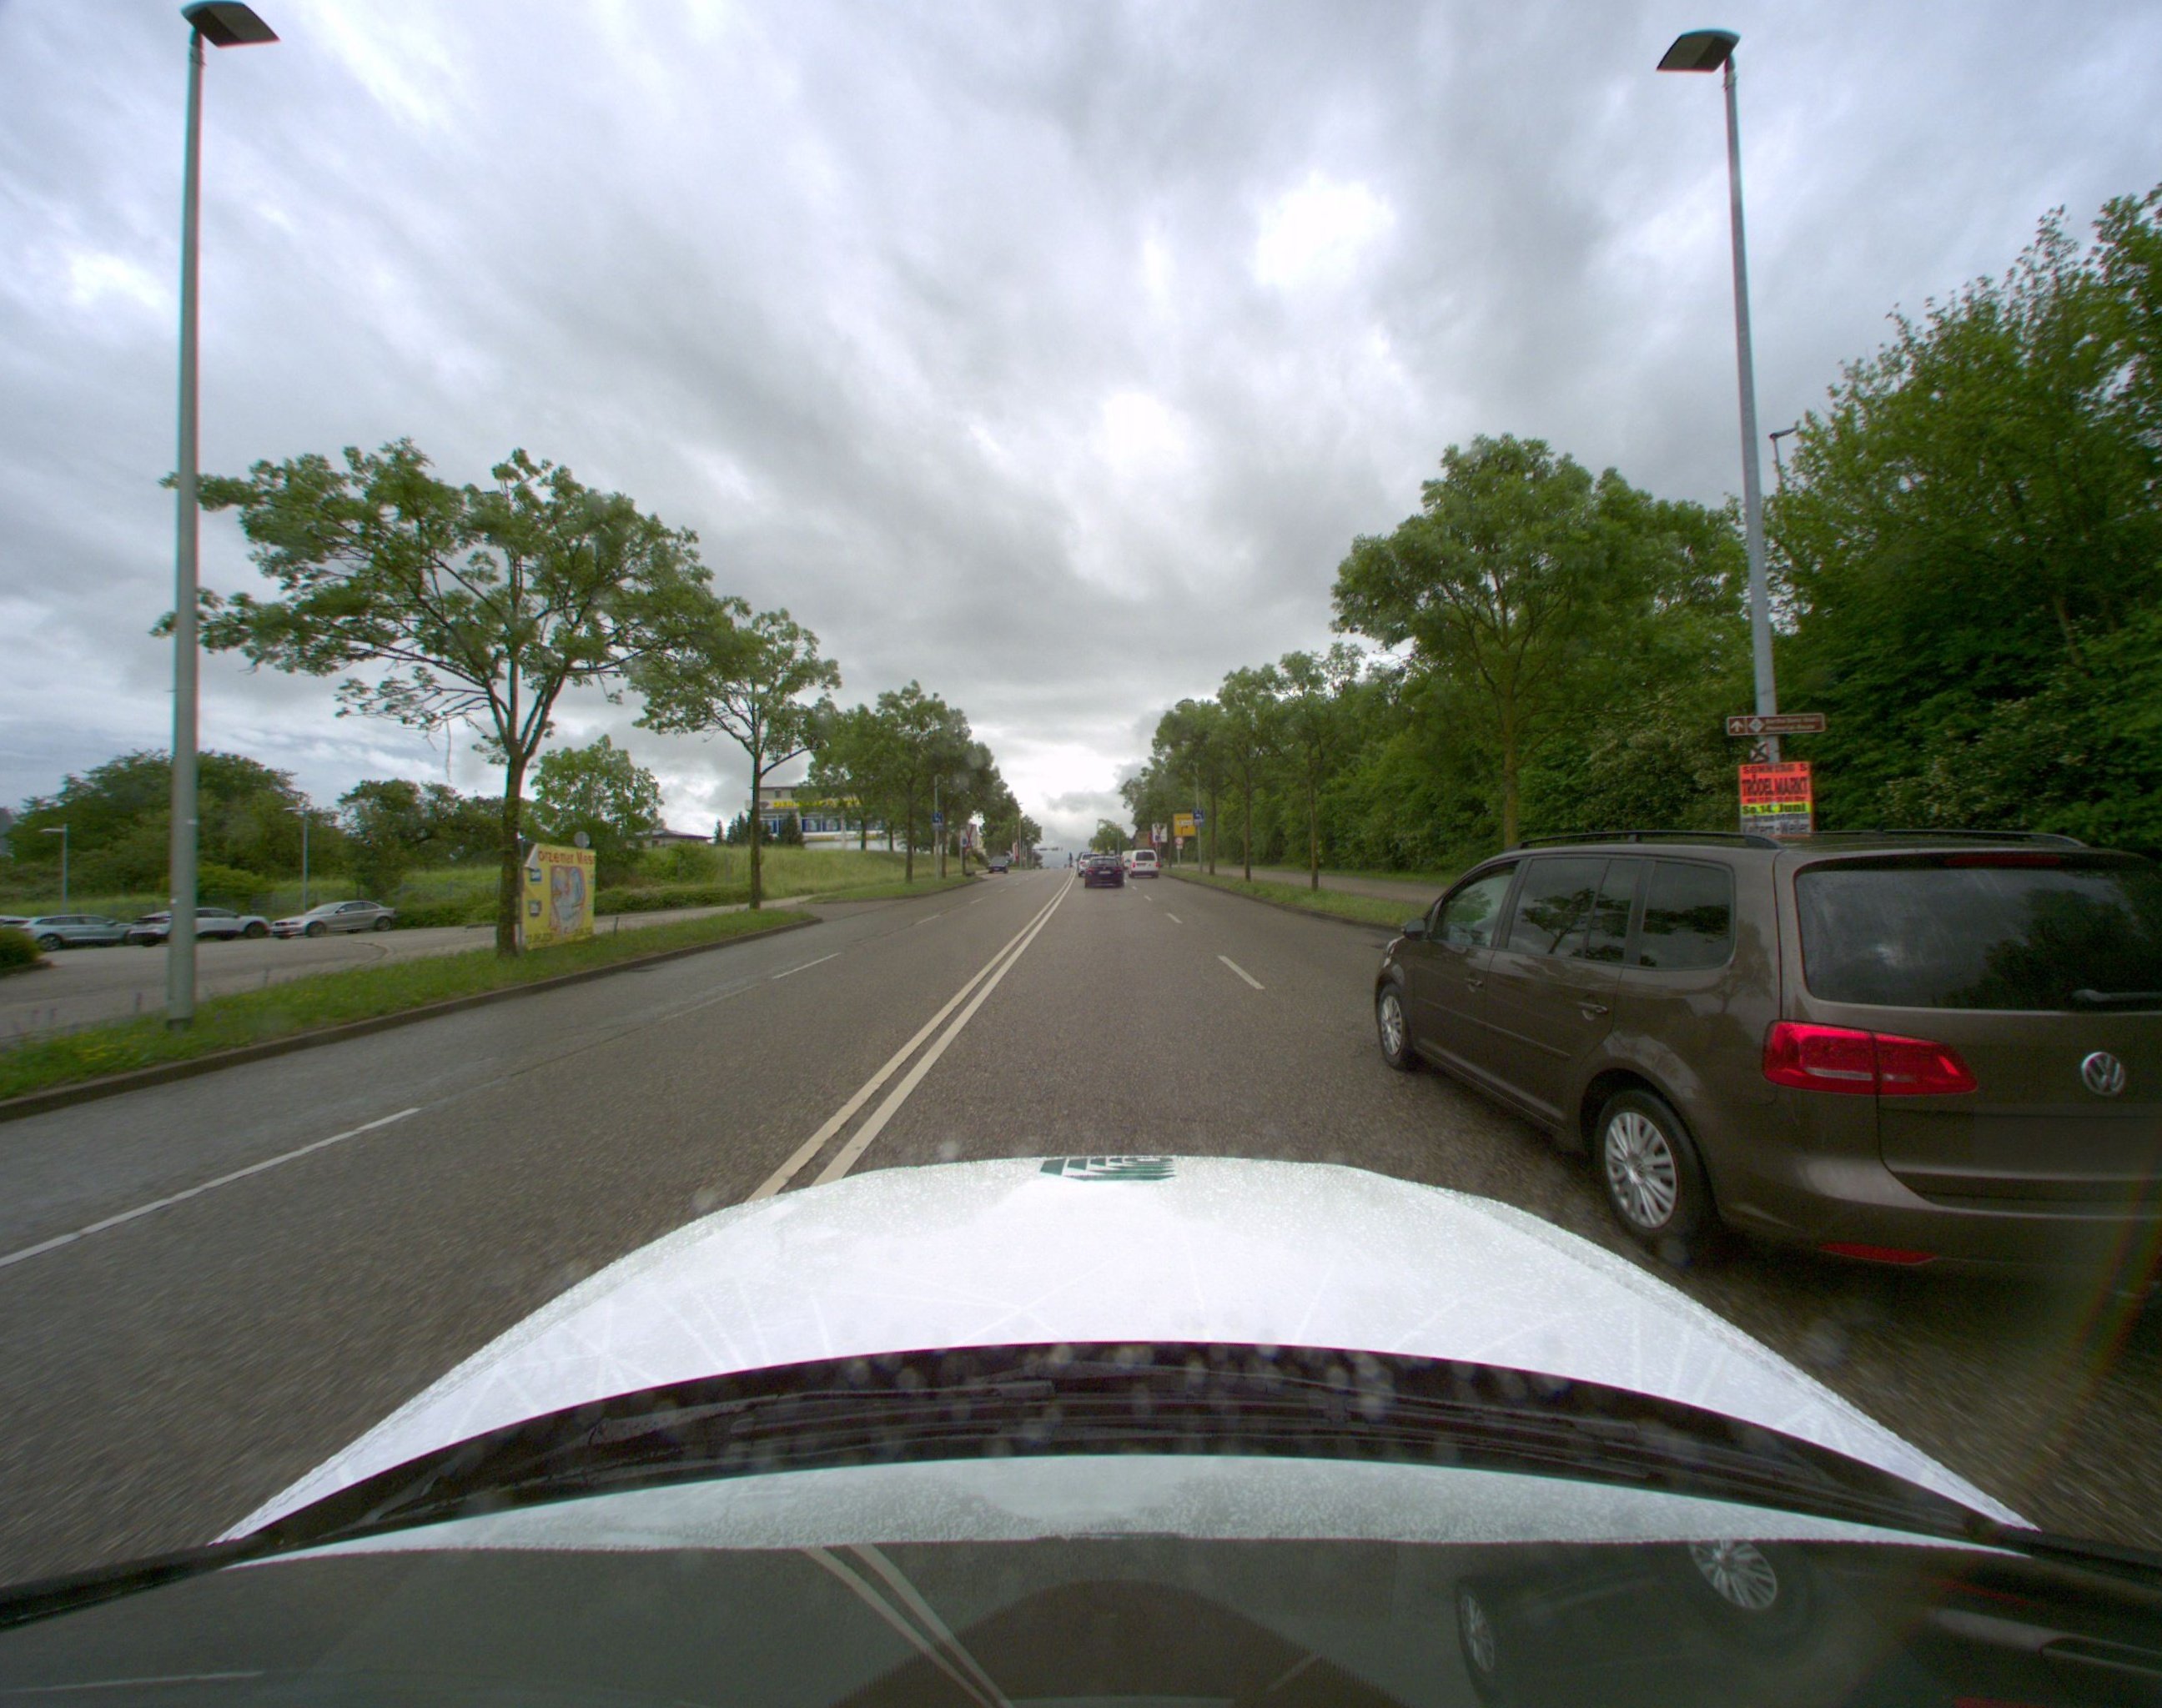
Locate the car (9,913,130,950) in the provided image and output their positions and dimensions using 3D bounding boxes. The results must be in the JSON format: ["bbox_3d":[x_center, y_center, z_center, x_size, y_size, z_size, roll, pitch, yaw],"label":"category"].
[{"bbox_3d":[-46.382,3.553,37.434,1.441,1.369,3.154,-2,0,12],"label":"car"}]

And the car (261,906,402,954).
[{"bbox_3d":[-31.927,3.199,34.889,1.520,1.614,4.310,-2,0,12],"label":"car"}]

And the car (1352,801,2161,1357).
[{"bbox_3d":[3.002,0.662,4.438,1.708,1.596,4.131,-1,0,1],"label":"car"}]

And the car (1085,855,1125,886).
[{"bbox_3d":[1.167,0.759,39.063,1.848,1.419,3.958,0,0,2],"label":"car"}]

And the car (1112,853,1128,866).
[{"bbox_3d":[4.304,0.584,89.162,1.595,1.372,3.681,-2,0,1],"label":"car"}]

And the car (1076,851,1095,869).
[{"bbox_3d":[0.479,0.567,81.804,1.752,1.708,3.947,-2,0,1],"label":"car"}]

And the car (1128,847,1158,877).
[{"bbox_3d":[3.985,0.503,52.646,1.735,1.869,3.947,0,0,1],"label":"car"}]

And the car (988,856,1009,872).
[{"bbox_3d":[-8.570,1.031,84.933,1.720,1.668,4.487,0,0,0],"label":"car"}]

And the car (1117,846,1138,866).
[{"bbox_3d":[4.185,0.220,73.884,1.807,1.708,3.947,-2,0,1],"label":"car"}]

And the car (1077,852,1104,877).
[{"bbox_3d":[0.691,0.707,57.465,1.721,1.711,3.385,-1,0,3],"label":"car"}]

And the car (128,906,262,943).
[{"bbox_3d":[-38.950,3.061,35.924,1.441,1.264,3.732,-2,0,12],"label":"car"}]

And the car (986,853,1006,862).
[{"bbox_3d":[-16.279,0.645,155.503,3.824,1.482,1.737,-2,-1,-8],"label":"car"}]
